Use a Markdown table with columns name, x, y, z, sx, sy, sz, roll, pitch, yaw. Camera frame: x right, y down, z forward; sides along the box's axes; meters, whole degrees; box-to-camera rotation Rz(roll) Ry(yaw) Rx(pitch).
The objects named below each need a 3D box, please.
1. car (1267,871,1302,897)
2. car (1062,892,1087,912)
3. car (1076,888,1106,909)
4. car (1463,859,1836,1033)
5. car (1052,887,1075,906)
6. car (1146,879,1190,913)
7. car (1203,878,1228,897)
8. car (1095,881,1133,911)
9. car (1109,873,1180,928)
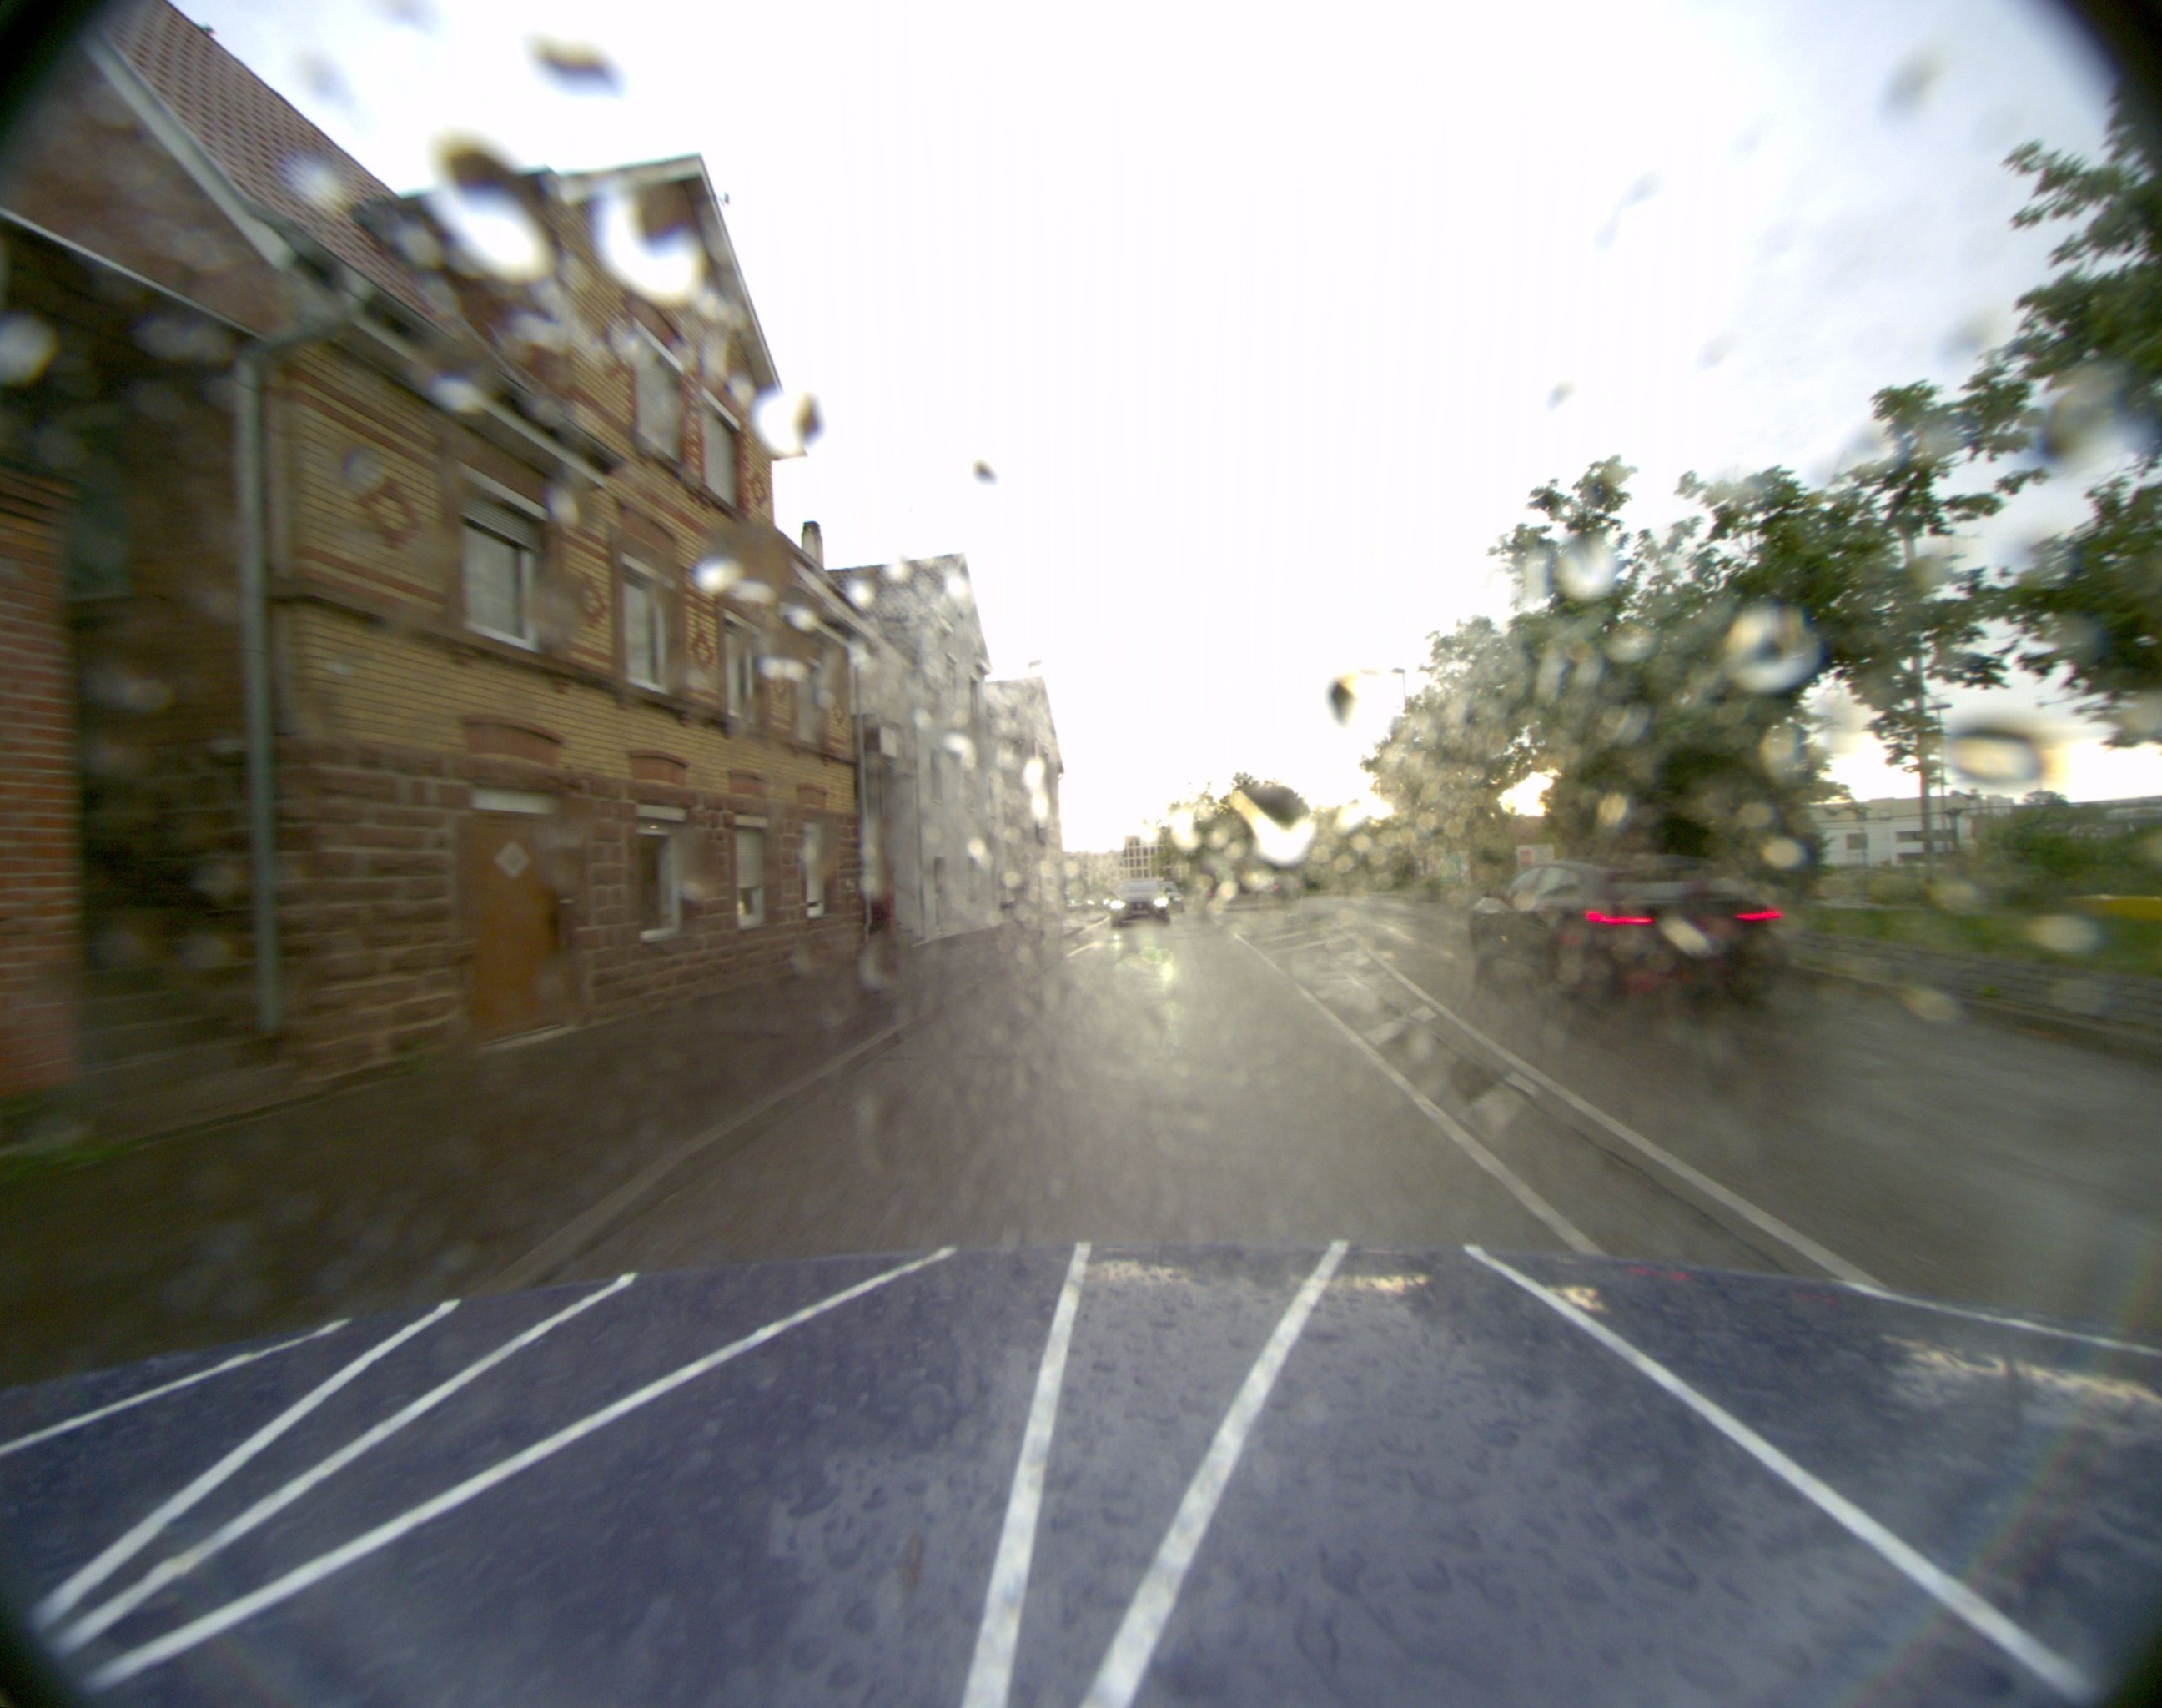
| name | x | y | z | sx | sy | sz | roll | pitch | yaw |
| --- | --- | --- | --- | --- | --- | --- | --- | --- | --- |
| car | 12.862 | 1.877 | 48.176 | 1.643 | 1.511 | 4.074 | -4 | -2 | 9 |
| car | -0.618 | 4.654 | 73.475 | 1.901 | 1.712 | 4.465 | -4 | -4 | -6 |
| car | 0.770 | 3.602 | 61.130 | 1.901 | 1.486 | 4.946 | -3 | -4 | -5 |
| car | 5.935 | 0.832 | 8.630 | 1.738 | 1.402 | 4.057 | -3 | 0 | 11 |
| car | -2.060 | 4.883 | 86.890 | 2.031 | 1.923 | 4.945 | -4 | -4 | -8 |
| car | 4.082 | 1.930 | 35.027 | 1.789 | 1.338 | 4.950 | -5 | -4 | 8 |
| car | 12.479 | 3.070 | 70.537 | 1.647 | 1.542 | 4.157 | -6 | -2 | 3 |
| car | 2.067 | 2.666 | 49.091 | 1.901 | 1.648 | 4.945 | -6 | -2 | -3 |
| car | 2.251 | 1.496 | 25.713 | 1.837 | 1.504 | 4.852 | -6 | -2 | 10 |
